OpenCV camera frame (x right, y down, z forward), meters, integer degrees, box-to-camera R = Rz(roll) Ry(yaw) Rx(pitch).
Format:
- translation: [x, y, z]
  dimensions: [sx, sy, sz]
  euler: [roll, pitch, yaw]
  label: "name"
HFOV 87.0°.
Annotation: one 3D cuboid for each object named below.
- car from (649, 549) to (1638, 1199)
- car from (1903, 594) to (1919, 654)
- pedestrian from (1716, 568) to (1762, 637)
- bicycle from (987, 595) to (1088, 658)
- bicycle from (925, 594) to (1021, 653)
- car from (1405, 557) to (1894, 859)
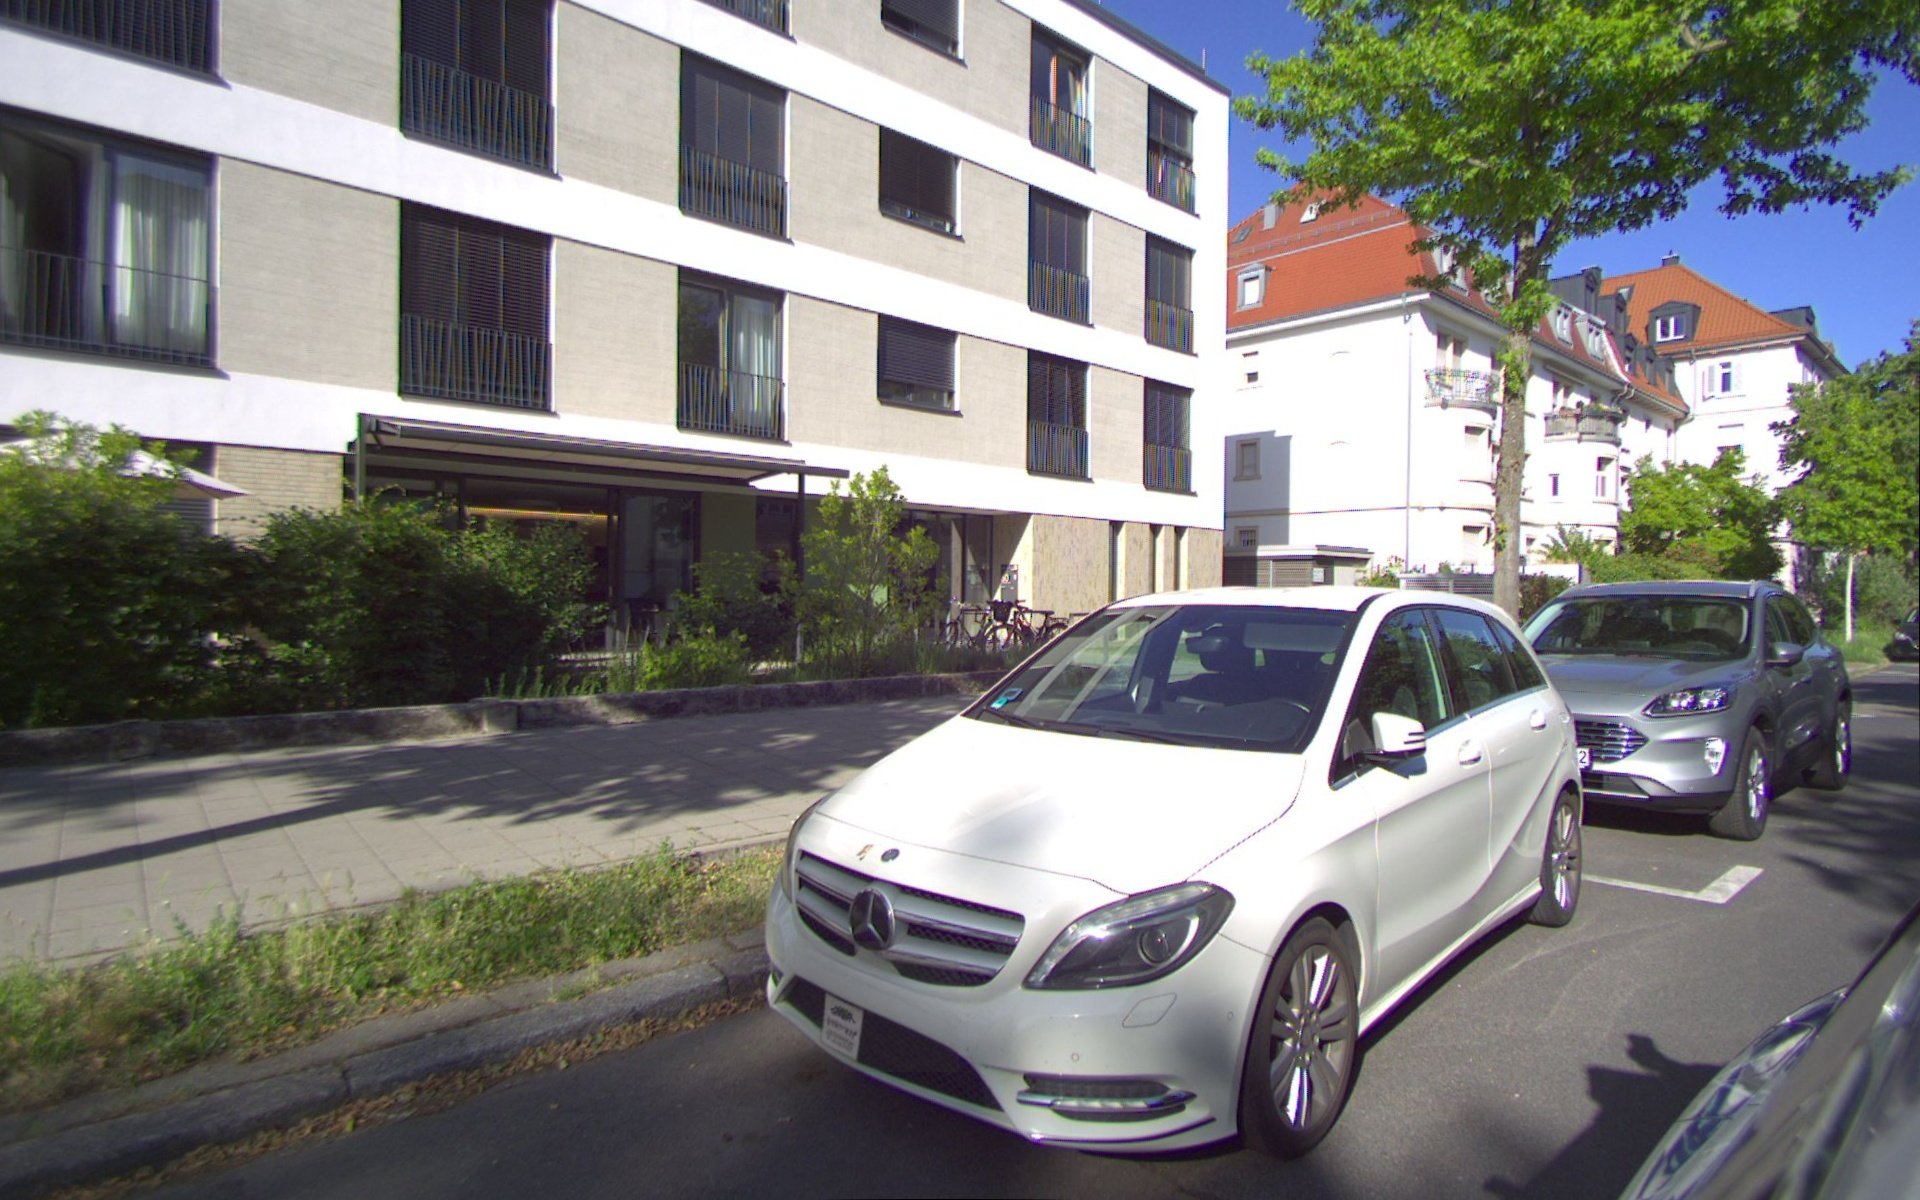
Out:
- translation: [1.261, 0.659, 4.195]
  dimensions: [1.781, 1.537, 4.612]
  euler: [0, 0, 44]
  label: "car"
- translation: [25.321, 0.616, 25.630]
  dimensions: [3.473, 1.483, 1.670]
  euler: [0, 2, -40]
  label: "car"
- translation: [23.902, 0.064, 31.050]
  dimensions: [0.988, 2.038, 0.907]
  euler: [0, 1, -41]
  label: "pedestrian"
- translation: [1.185, 0.376, 15.293]
  dimensions: [1.581, 0.905, 0.564]
  euler: [0, 1, -41]
  label: "bicycle"
- translation: [0.230, 0.362, 16.426]
  dimensions: [1.581, 0.905, 0.564]
  euler: [0, 1, -41]
  label: "bicycle"
- translation: [5.555, 0.586, 7.871]
  dimensions: [4.774, 1.668, 1.901]
  euler: [0, 0, -40]
  label: "car"
